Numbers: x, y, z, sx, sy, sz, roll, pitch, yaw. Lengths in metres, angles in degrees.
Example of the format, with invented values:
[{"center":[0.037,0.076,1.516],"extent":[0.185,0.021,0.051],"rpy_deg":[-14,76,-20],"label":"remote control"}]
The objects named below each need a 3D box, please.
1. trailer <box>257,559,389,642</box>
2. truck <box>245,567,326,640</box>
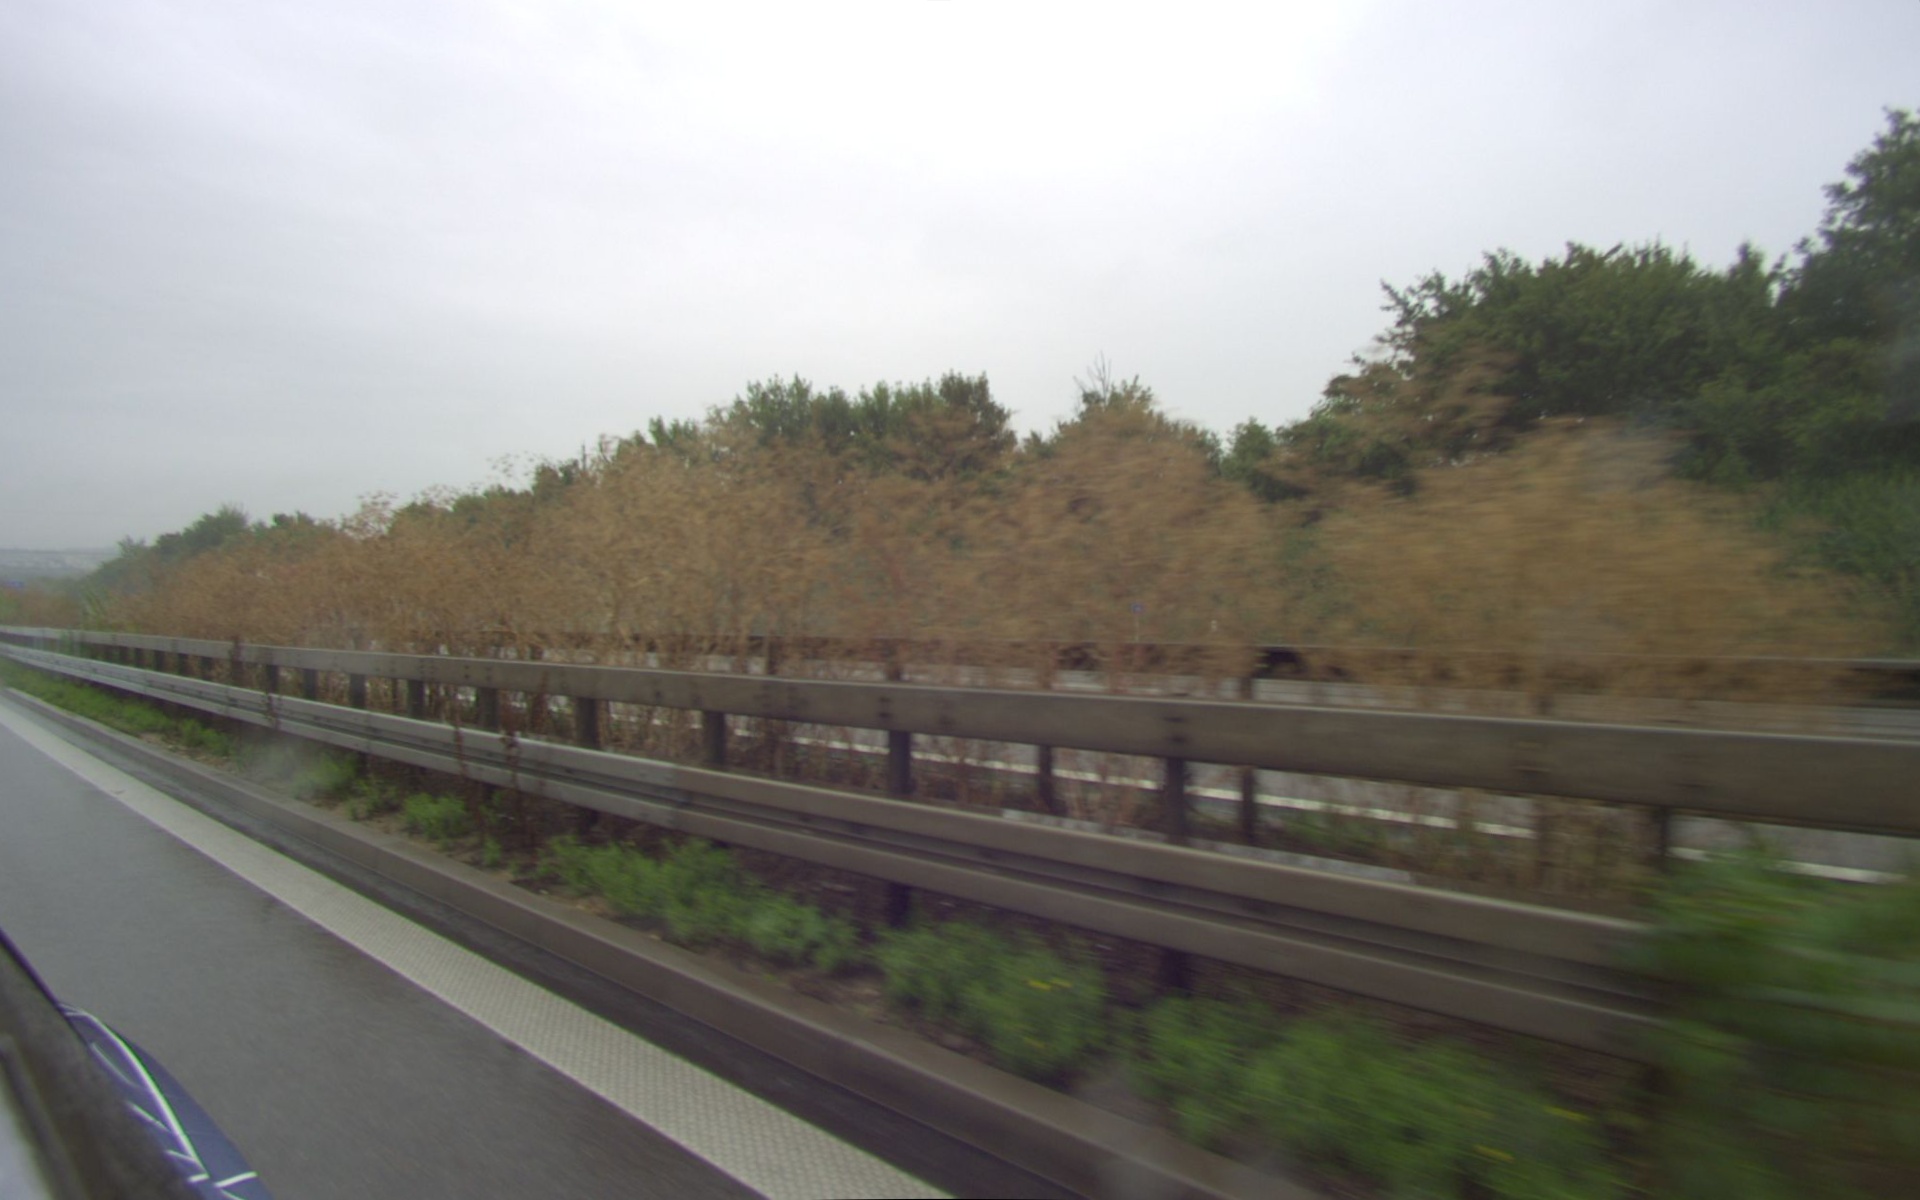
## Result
[{"center":[-32.965,0.097,52.017],"extent":[12.210,3.860,2.571],"rpy_deg":[-1,0,43],"label":"trailer"},{"center":[-37.426,0.194,56.101],"extent":[4.974,3.860,2.557],"rpy_deg":[-1,0,42],"label":"truck"}]
